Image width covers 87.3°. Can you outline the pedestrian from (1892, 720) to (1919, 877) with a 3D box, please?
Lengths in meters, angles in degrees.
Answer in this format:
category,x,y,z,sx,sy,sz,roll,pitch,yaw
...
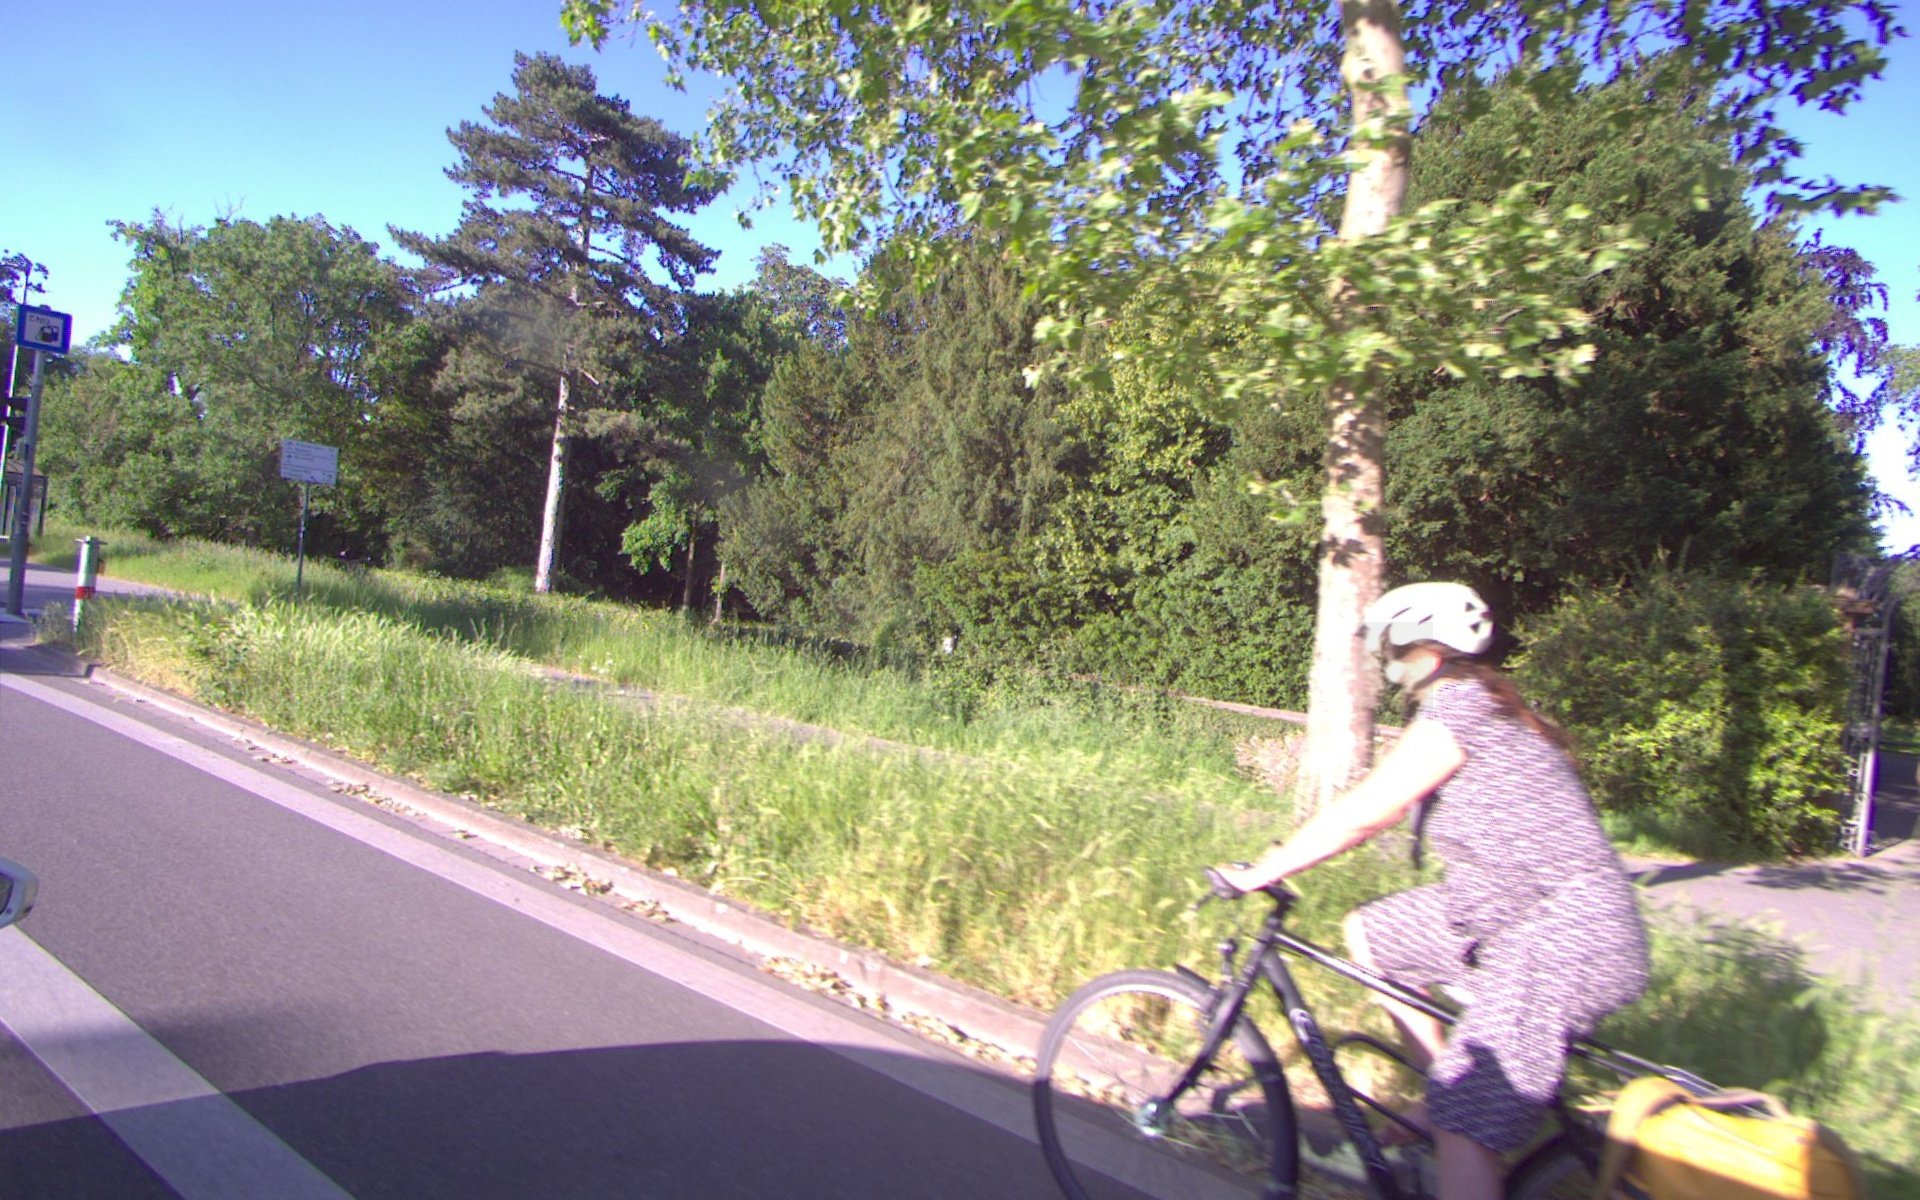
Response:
category,x,y,z,sx,sy,sz,roll,pitch,yaw
pedestrian,11.080,2.270,11.336,0.671,1.731,0.689,6,-2,41

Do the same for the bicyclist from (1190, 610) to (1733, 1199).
category,x,y,z,sx,sy,sz,roll,pitch,yaw
bicyclist,1.078,0.827,2.195,0.790,1.509,0.691,6,0,43

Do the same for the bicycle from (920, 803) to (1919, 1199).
category,x,y,z,sx,sy,sz,roll,pitch,yaw
bicycle,0.935,1.254,2.305,2.108,1.109,0.691,6,0,43
